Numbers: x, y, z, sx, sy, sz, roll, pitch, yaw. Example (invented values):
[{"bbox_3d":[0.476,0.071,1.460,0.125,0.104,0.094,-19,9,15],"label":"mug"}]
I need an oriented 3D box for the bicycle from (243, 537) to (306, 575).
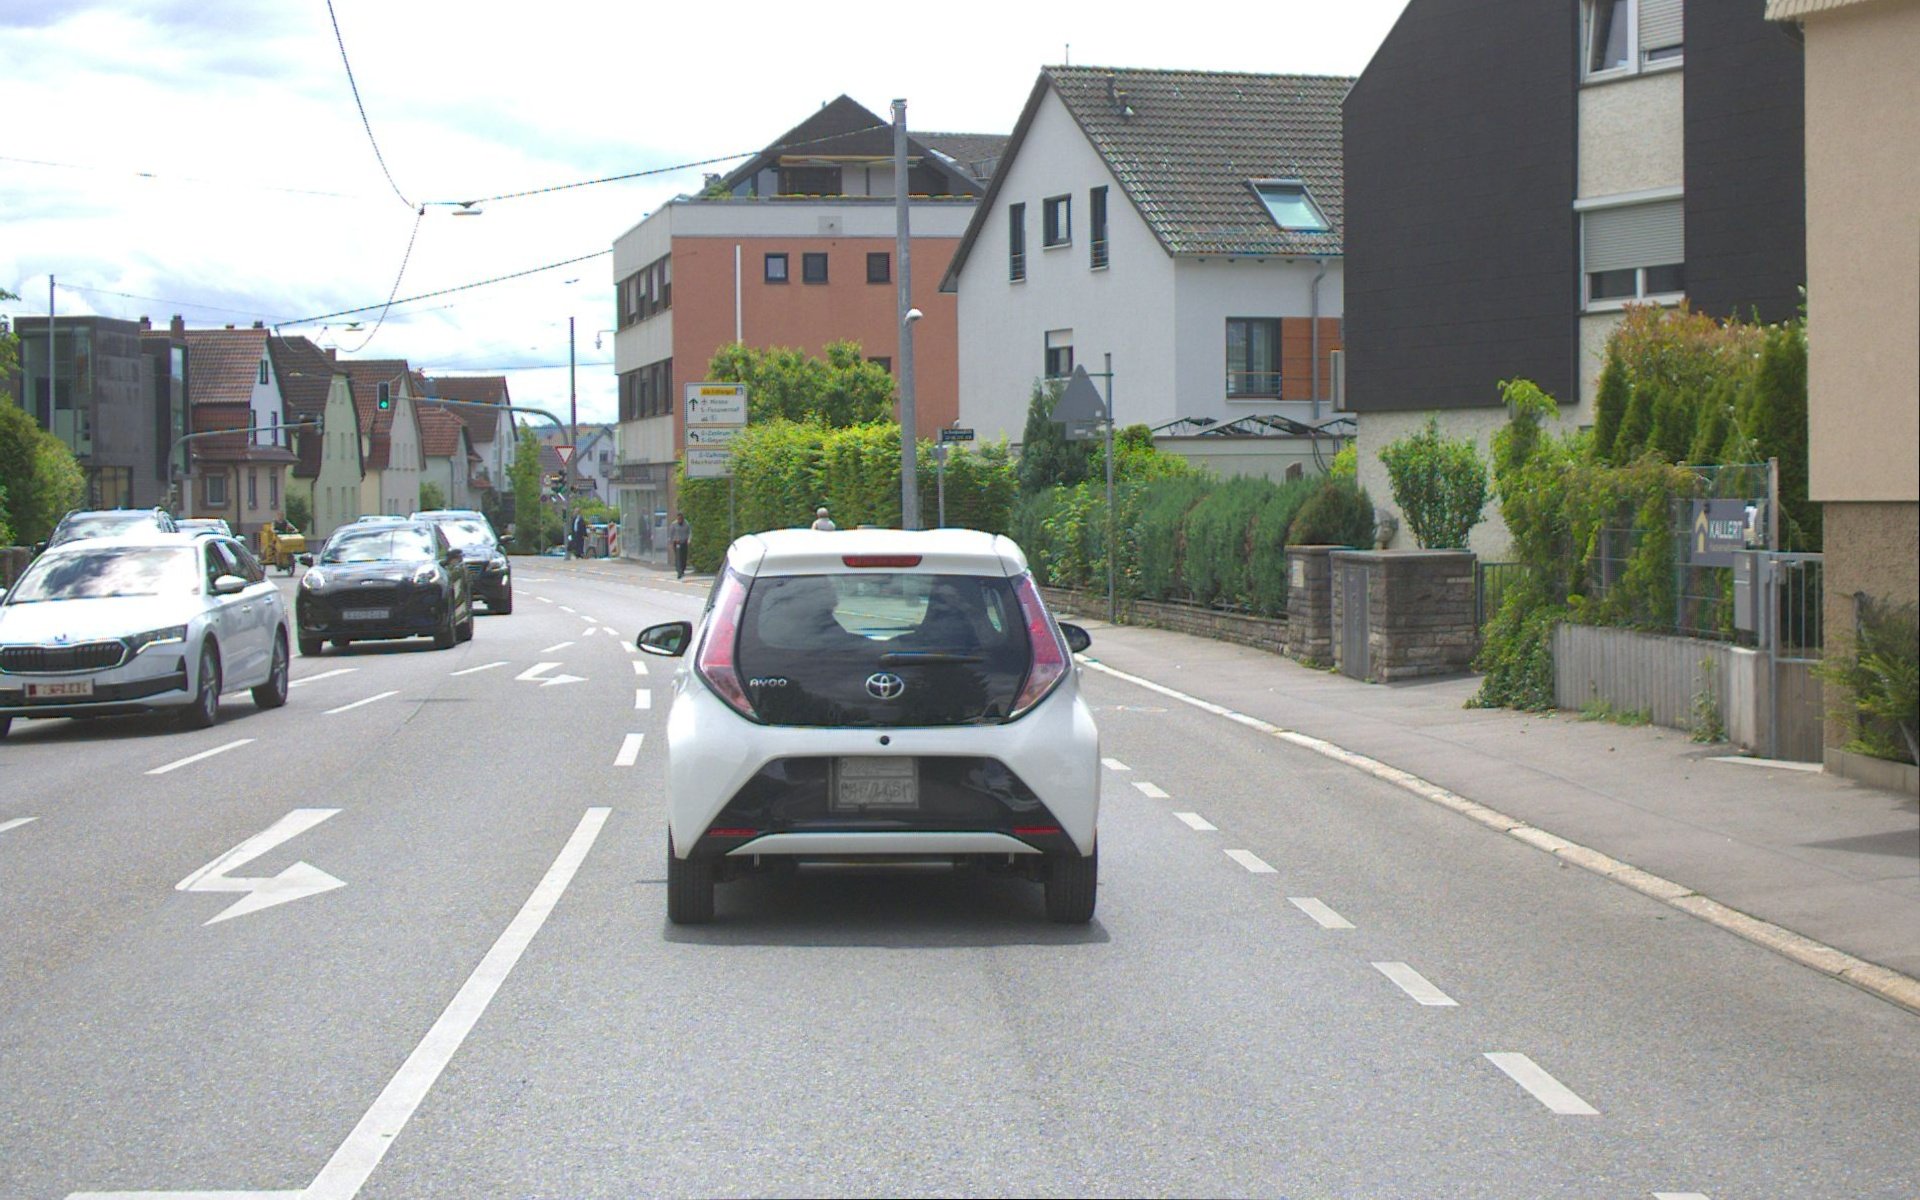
[{"bbox_3d":[-18.315,-1.173,91.779,1.114,0.933,3.789,-4,2,-19],"label":"bicycle"}]

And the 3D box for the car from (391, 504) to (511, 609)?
[{"bbox_3d":[-8.263,-0.722,55.964,1.774,1.547,4.010,-3,2,-8],"label":"car"}]

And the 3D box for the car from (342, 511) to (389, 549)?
[{"bbox_3d":[-26.772,-3.165,154.861,1.993,1.678,4.001,1,1,-9],"label":"car"}]

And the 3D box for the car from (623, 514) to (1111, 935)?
[{"bbox_3d":[-0.518,0.397,14.192,1.620,1.481,4.001,0,1,-7],"label":"car"}]

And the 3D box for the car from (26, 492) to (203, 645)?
[{"bbox_3d":[-11.136,-0.441,45.485,1.774,1.839,4.010,-3,2,-8],"label":"car"}]

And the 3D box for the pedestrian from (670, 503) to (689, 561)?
[{"bbox_3d":[-6.945,-1.685,85.149,0.413,1.433,0.438,0,2,-9],"label":"pedestrian"}]

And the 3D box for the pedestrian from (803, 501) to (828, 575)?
[{"bbox_3d":[-2.824,-1.214,67.261,0.413,1.433,0.438,0,2,-14],"label":"pedestrian"}]

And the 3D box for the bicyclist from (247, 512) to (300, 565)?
[{"bbox_3d":[-18.332,-1.641,91.783,1.114,1.331,1.633,-4,2,-19],"label":"bicyclist"}]

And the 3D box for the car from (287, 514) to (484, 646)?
[{"bbox_3d":[-6.768,-0.273,40.870,1.775,1.425,4.009,-2,2,-2],"label":"car"}]

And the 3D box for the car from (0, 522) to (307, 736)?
[{"bbox_3d":[-6.383,0.165,26.622,1.775,1.425,4.523,-3,2,-1],"label":"car"}]
